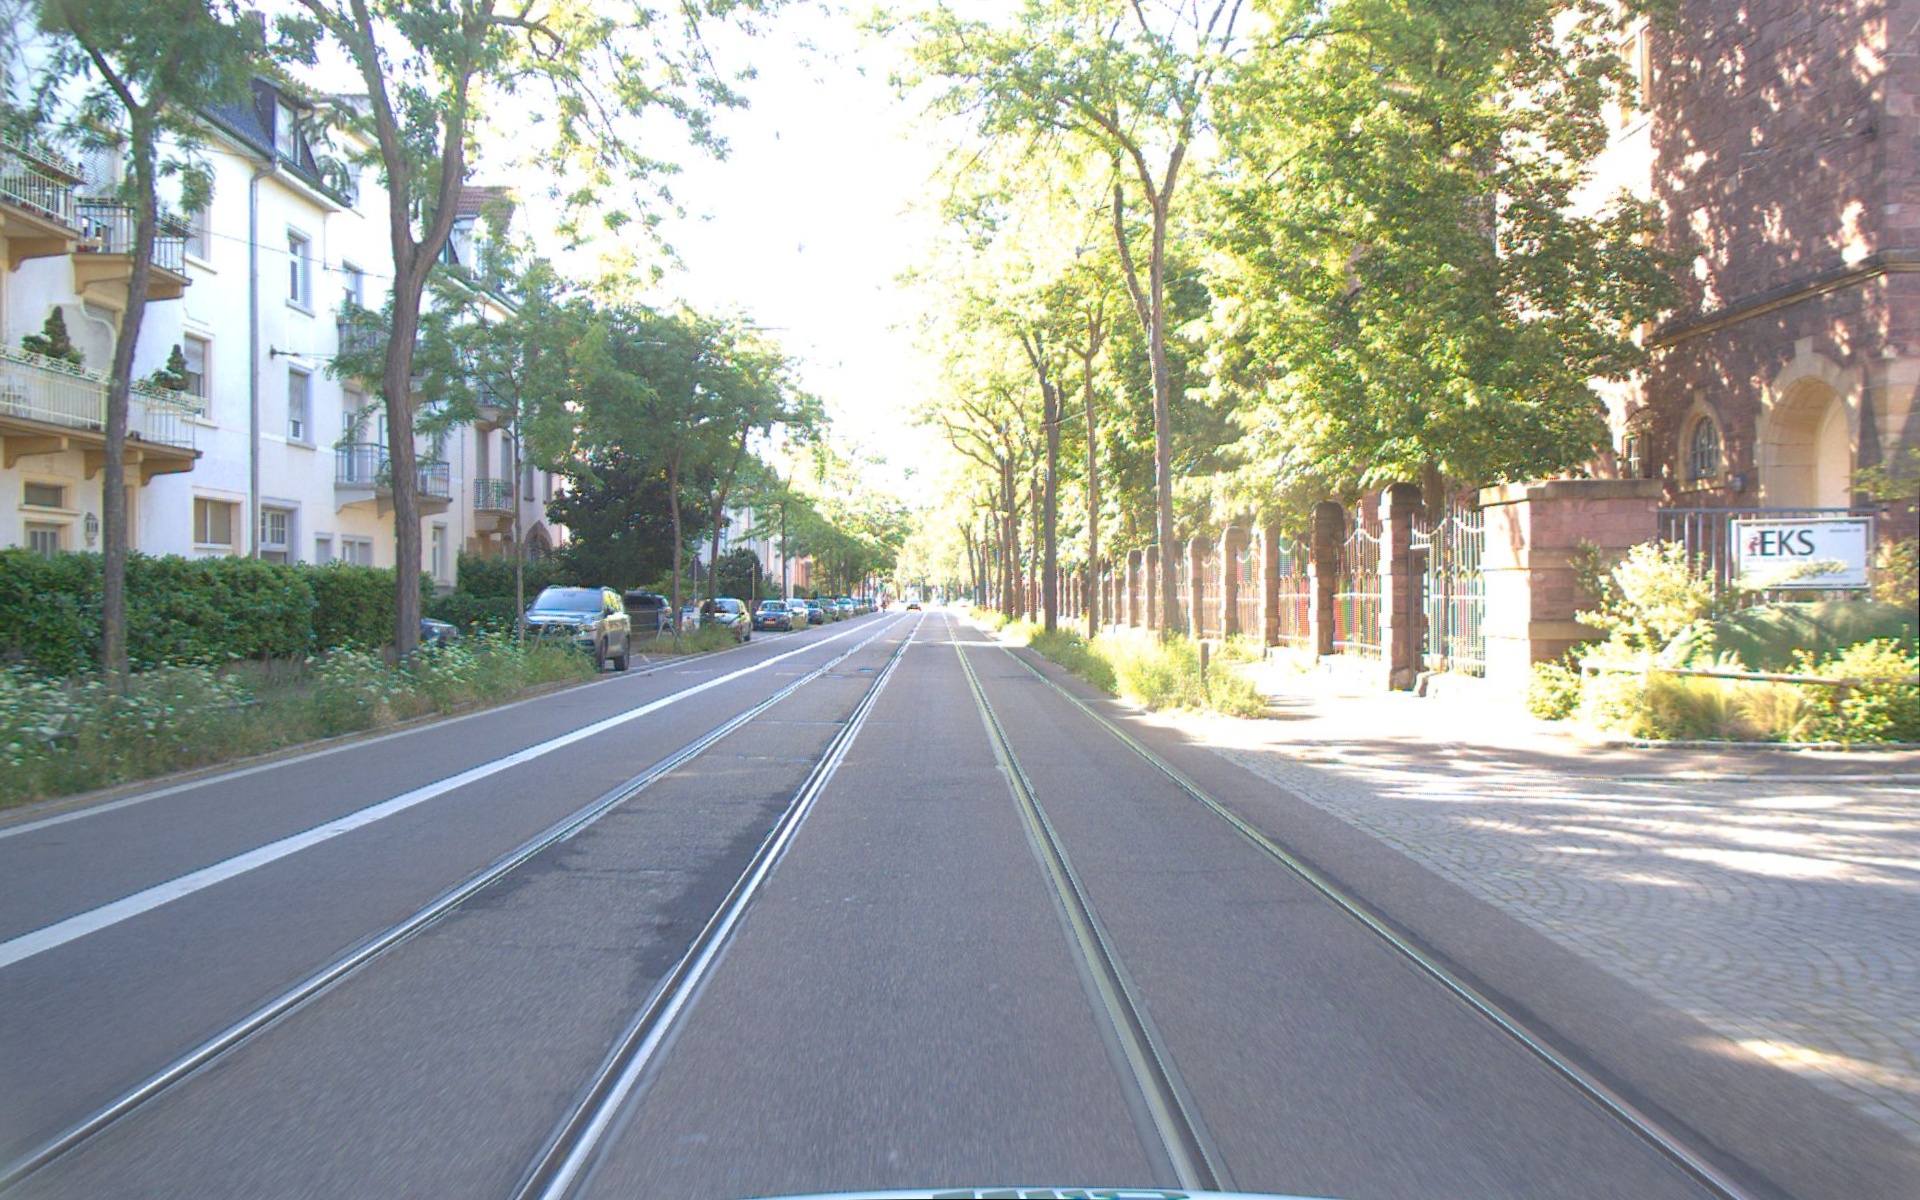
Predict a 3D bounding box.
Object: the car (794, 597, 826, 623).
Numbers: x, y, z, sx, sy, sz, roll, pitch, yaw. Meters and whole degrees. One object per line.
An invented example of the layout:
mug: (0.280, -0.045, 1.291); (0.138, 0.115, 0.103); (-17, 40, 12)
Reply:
car: (-9.256, 0.625, 102.538); (1.722, 1.537, 4.437); (1, 0, -2)

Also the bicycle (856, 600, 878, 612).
bicycle: (-10.073, 0.630, 178.934); (2.236, 1.219, 0.560); (2, 1, 6)

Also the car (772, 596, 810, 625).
car: (-9.417, 0.565, 92.384); (1.780, 1.537, 4.369); (1, 0, -2)

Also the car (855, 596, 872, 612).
car: (-9.296, 0.400, 159.680); (1.529, 1.482, 3.928); (2, 0, -3)

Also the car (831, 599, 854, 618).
car: (-10.053, 0.732, 141.799); (1.668, 1.511, 4.078); (2, 0, -1)

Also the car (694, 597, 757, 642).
car: (-8.701, 0.700, 61.764); (1.740, 1.568, 4.485); (1, 0, -1)

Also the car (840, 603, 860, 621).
car: (-9.941, 1.101, 149.591); (1.653, 1.511, 3.758); (2, 0, -2)

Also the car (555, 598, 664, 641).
car: (-14.356, 0.773, 67.940); (4.082, 1.688, 1.982); (1, 0, -3)

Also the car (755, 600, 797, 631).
car: (-8.940, 0.728, 80.764); (1.671, 1.431, 4.332); (1, 0, -2)

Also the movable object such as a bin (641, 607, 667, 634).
movable object such as a bin: (-12.087, 0.804, 65.296); (0.857, 1.084, 0.814); (0, 0, -1)

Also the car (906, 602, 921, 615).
car: (-5.591, 1.020, 197.101); (1.722, 1.464, 4.522); (0, 0, -2)

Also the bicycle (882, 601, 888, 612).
bicycle: (-8.491, 0.746, 186.944); (0.614, 1.198, 1.913); (-3, 0, -1)

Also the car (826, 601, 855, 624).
car: (-8.344, 0.858, 115.724); (1.780, 1.511, 4.205); (1, 0, -1)

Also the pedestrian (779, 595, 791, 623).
pedestrian: (-11.651, 0.617, 110.086); (0.677, 1.833, 0.813); (-1, 0, -1)

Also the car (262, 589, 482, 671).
car: (-13.225, 0.656, 37.361); (4.212, 1.690, 1.953); (1, 0, 0)

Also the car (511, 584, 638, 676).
car: (-8.310, 0.604, 36.054); (1.833, 1.855, 4.769); (1, 0, -3)
